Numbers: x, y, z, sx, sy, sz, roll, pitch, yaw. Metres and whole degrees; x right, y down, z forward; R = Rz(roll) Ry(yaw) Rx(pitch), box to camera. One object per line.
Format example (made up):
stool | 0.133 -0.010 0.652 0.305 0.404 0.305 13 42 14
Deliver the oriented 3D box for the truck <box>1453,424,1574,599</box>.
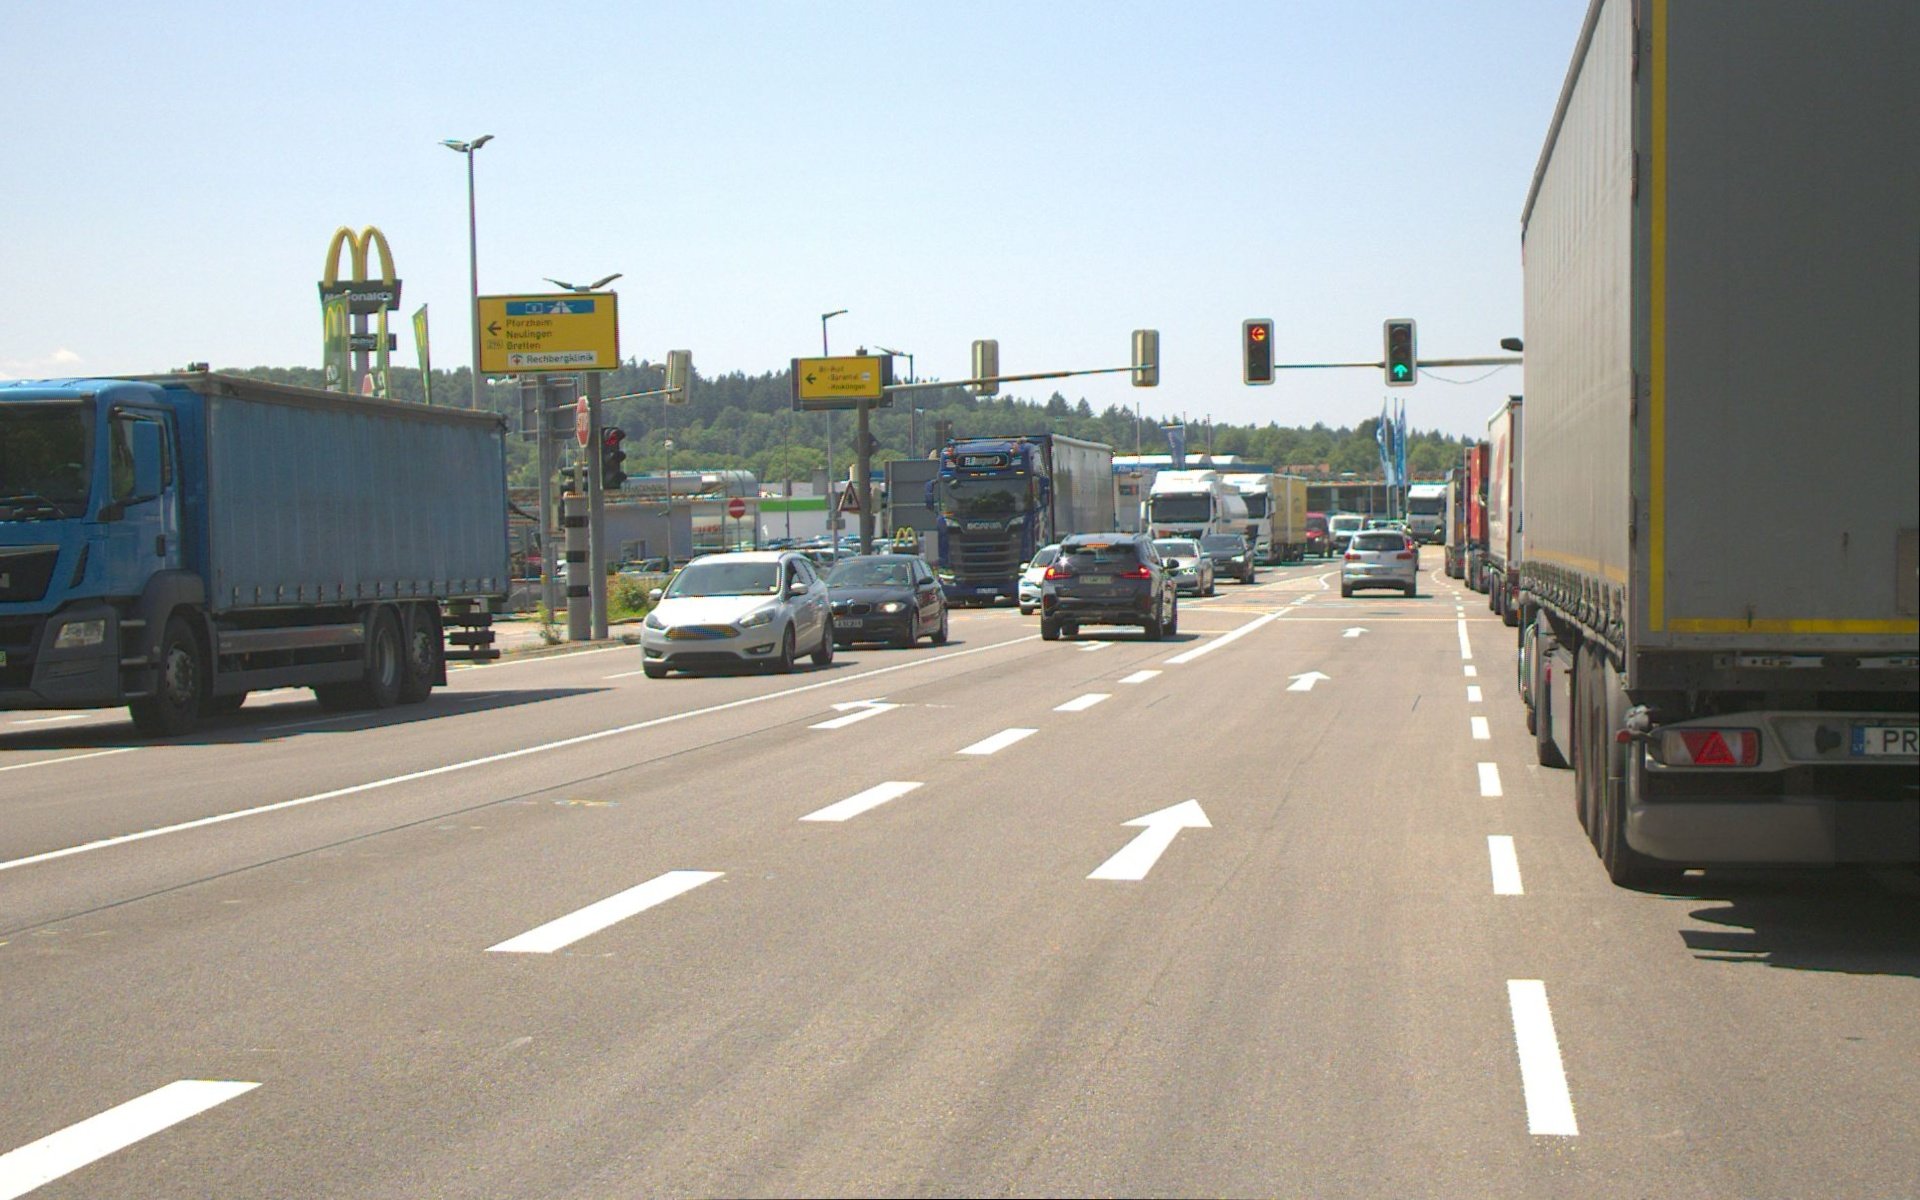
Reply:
truck | 15.363 -2.279 96.320 2.876 4.463 16.650 0 0 8

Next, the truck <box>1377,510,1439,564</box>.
truck | 34.204 -4.808 261.960 3.273 3.936 13.857 -1 1 13

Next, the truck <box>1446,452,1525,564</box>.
truck | 18.480 -3.176 121.312 2.609 3.704 9.446 0 0 8

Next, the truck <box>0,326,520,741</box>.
truck | -7.294 -0.583 33.617 2.847 3.340 11.478 -1 0 9

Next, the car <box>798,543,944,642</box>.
car | -1.299 -0.140 51.536 1.662 1.399 4.016 -1 1 6

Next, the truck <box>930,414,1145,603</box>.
truck | 2.273 -2.315 89.098 3.147 4.334 17.537 -2 1 9

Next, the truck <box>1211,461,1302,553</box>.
truck | 13.572 -4.163 156.326 2.935 3.936 13.860 -1 1 10

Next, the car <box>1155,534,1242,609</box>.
car | 6.162 -0.761 88.411 1.811 1.503 4.946 -1 5 8

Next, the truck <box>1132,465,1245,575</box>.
truck | 8.870 -3.017 132.031 2.935 3.936 14.232 -1 1 9

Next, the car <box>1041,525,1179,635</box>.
car | 2.379 -0.327 53.604 1.794 1.621 4.368 -1 1 7

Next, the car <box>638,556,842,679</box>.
car | -2.662 0.181 42.591 1.789 1.422 4.262 0 1 7

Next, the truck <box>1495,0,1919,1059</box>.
truck | 4.766 -0.673 20.427 2.756 4.623 16.650 0 0 8

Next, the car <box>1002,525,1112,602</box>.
car | 2.094 -0.750 73.029 1.741 1.498 4.404 -2 0 9

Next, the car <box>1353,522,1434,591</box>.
car | 10.887 -1.094 86.227 1.805 1.664 4.290 0 1 10

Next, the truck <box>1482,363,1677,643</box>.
truck | 11.506 -1.598 65.177 2.876 4.623 16.650 0 0 8

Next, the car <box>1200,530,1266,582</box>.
car | 8.334 -1.350 104.643 1.664 1.503 3.903 -2 1 9

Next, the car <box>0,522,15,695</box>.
car | -16.791 0.387 48.720 5.991 2.479 2.195 -5 1 3

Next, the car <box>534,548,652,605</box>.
car | -13.540 -0.867 126.913 1.942 2.007 3.990 0 1 45
